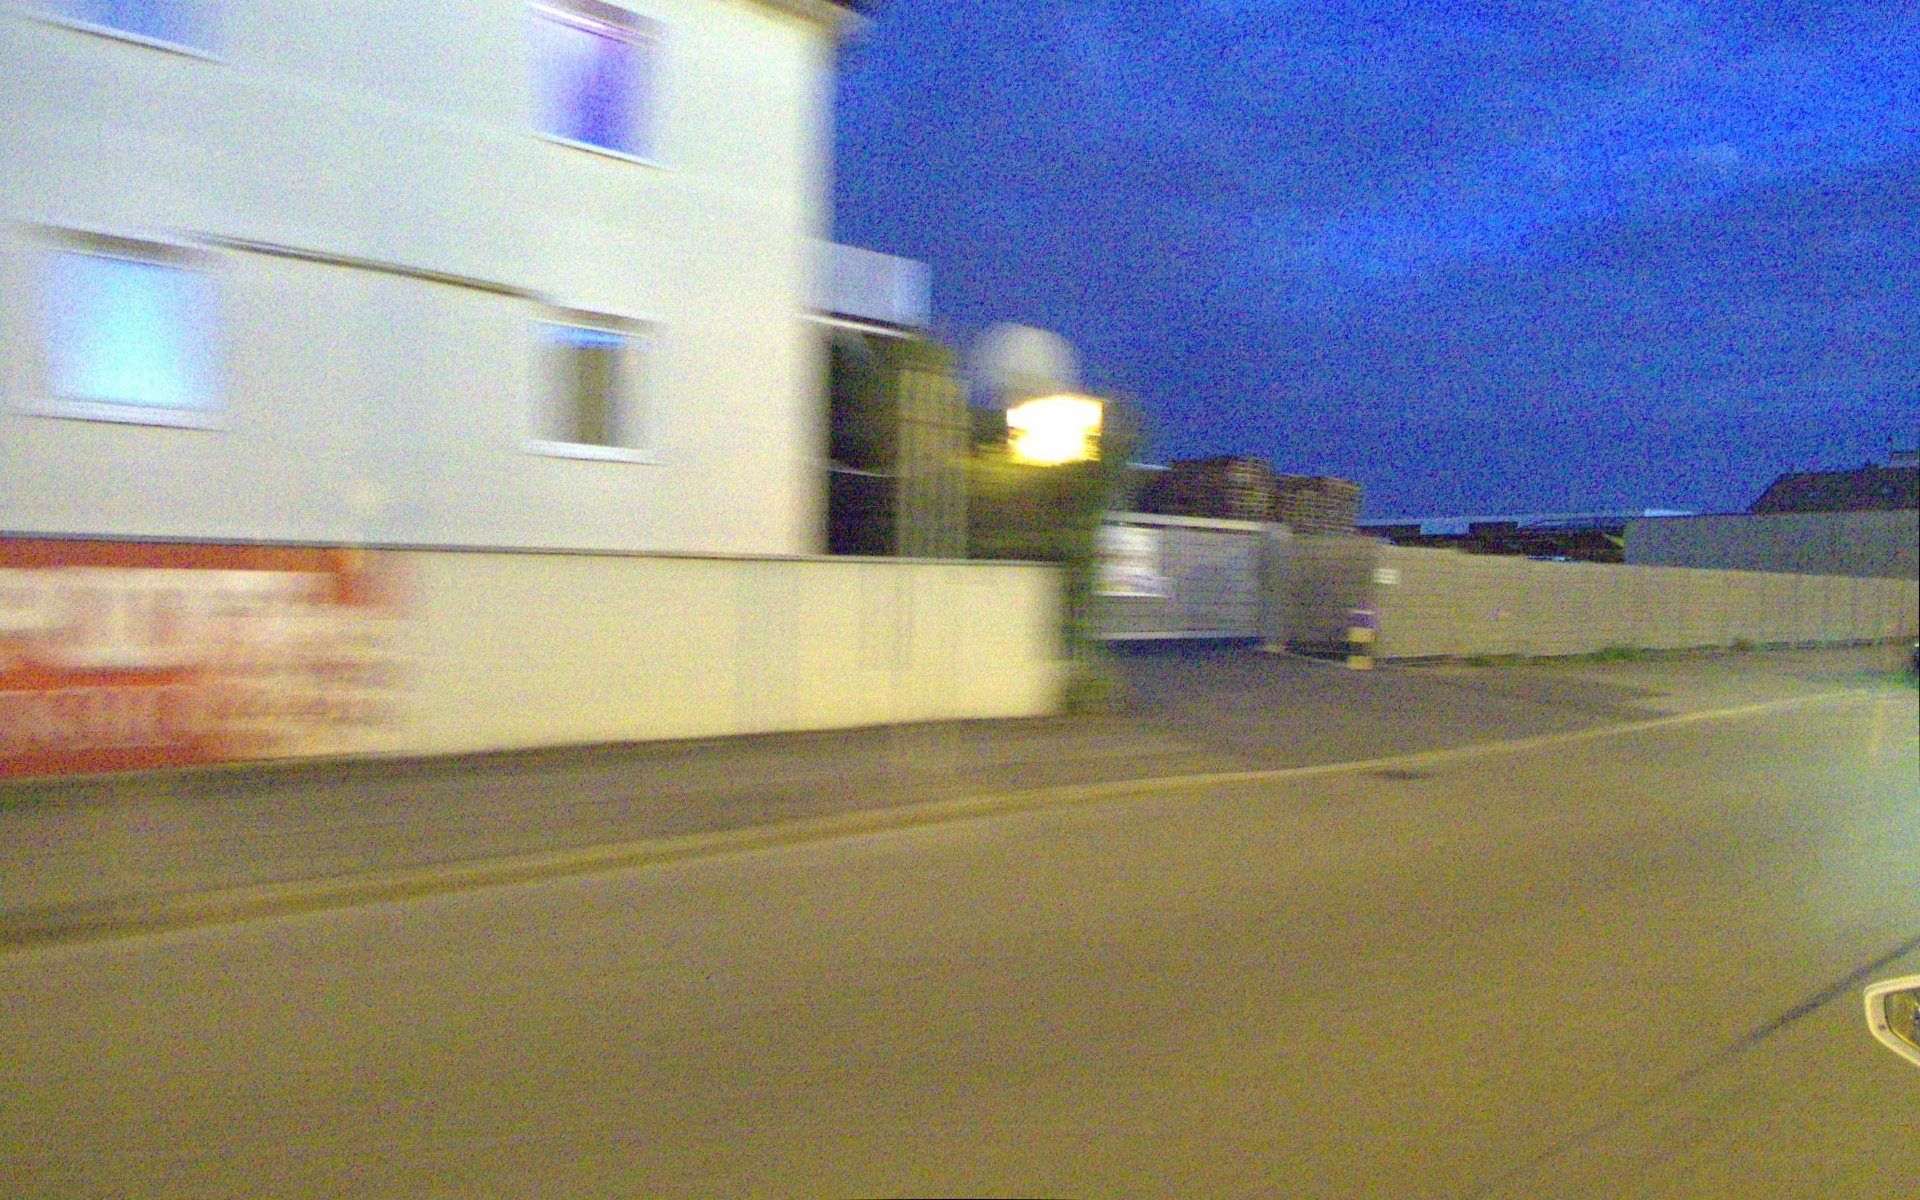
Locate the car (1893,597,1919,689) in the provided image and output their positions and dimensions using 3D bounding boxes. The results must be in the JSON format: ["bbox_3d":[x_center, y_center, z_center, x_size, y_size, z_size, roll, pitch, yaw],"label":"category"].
[{"bbox_3d":[19.706,0.853,19.024,4.726,1.658,1.980,1,2,-35],"label":"car"}]
